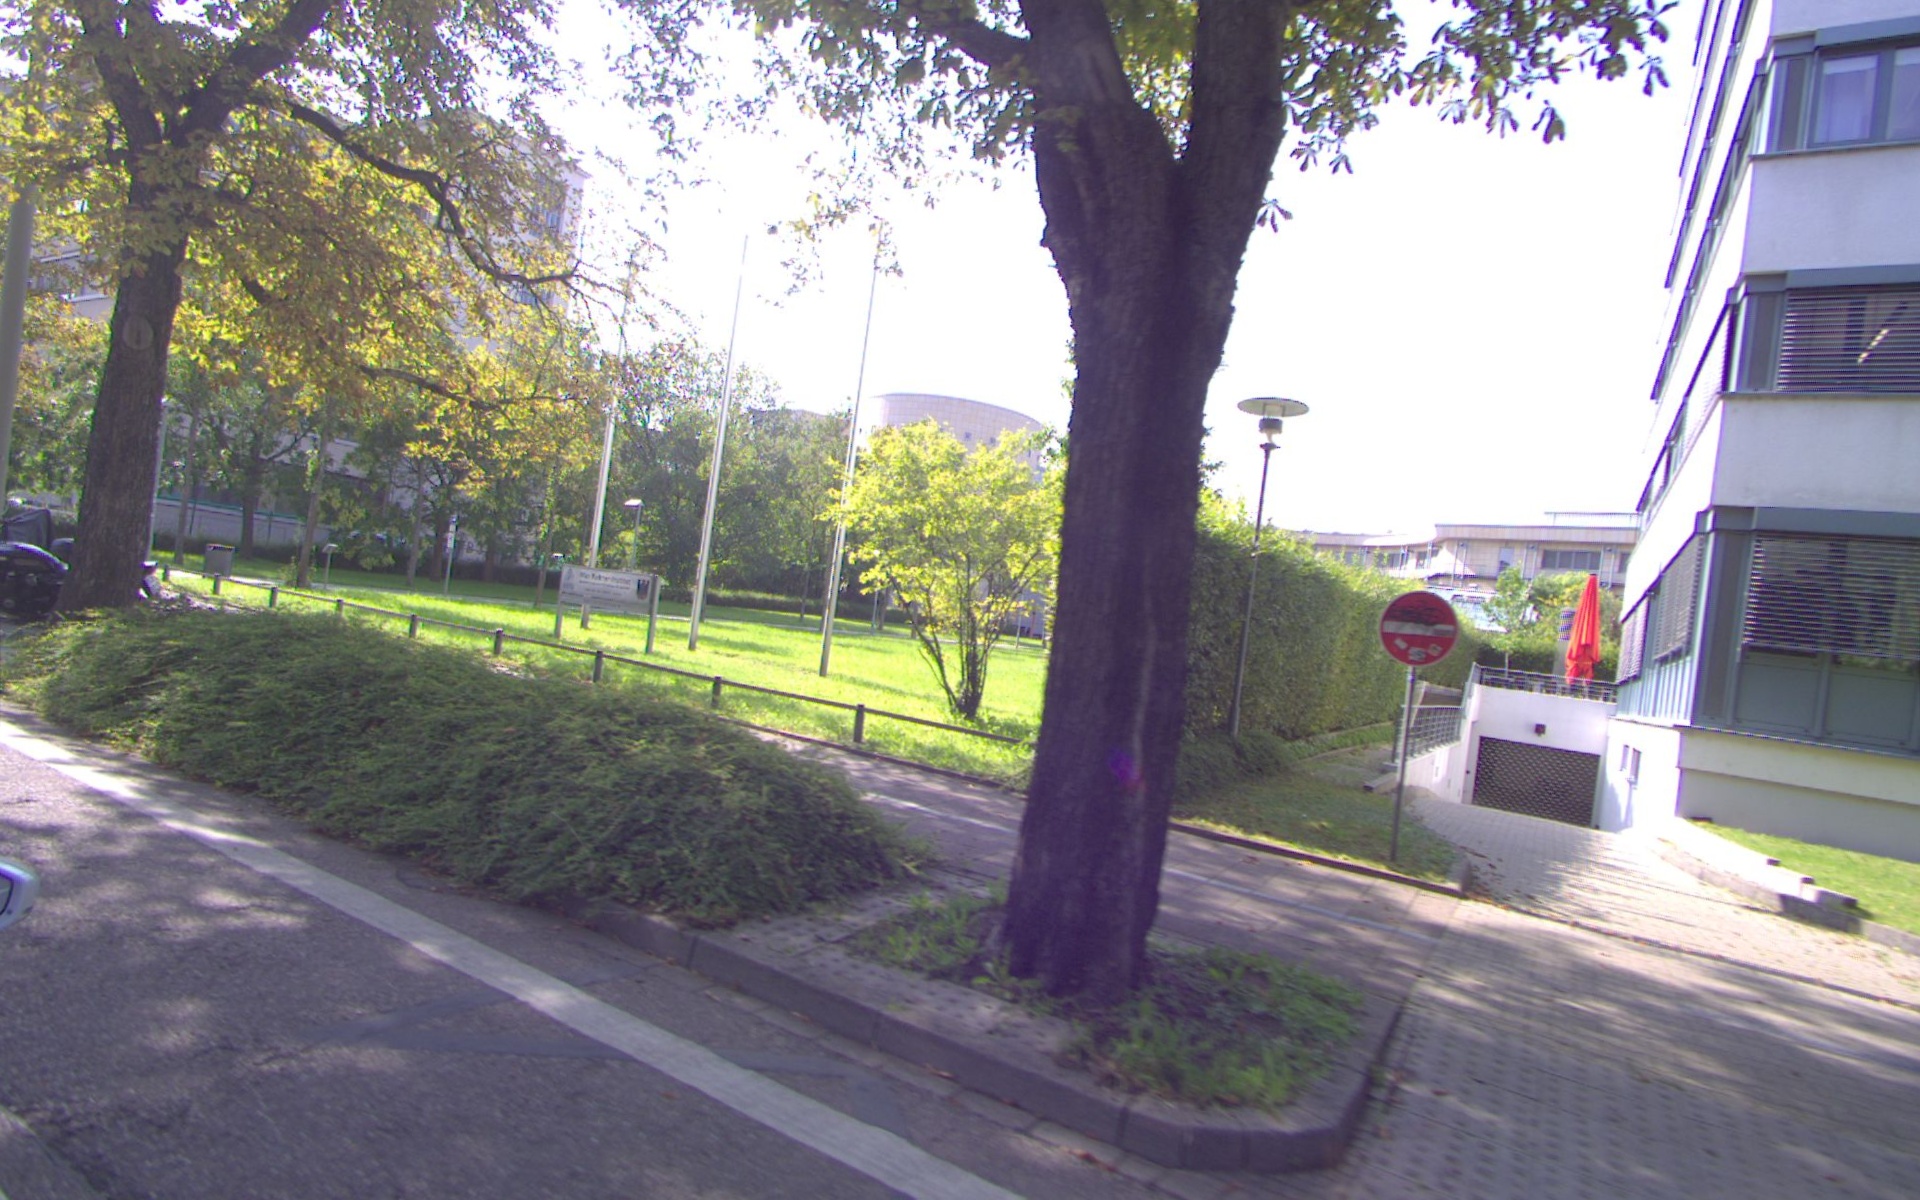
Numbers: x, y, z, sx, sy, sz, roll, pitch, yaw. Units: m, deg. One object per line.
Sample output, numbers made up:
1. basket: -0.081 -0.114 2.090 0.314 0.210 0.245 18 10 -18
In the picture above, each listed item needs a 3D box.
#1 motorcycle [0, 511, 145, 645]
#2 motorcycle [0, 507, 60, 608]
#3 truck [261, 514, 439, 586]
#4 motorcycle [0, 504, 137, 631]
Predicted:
1. motorcycle: -10.053 -0.286 10.578 2.038 1.258 0.841 7 1 -20
2. motorcycle: -12.978 -0.655 12.890 1.971 1.239 0.640 9 -1 -34
3. truck: -27.810 -2.221 46.183 2.086 2.241 6.578 7 -2 32
4. motorcycle: -11.205 -0.435 11.980 2.028 1.344 0.845 7 1 2
